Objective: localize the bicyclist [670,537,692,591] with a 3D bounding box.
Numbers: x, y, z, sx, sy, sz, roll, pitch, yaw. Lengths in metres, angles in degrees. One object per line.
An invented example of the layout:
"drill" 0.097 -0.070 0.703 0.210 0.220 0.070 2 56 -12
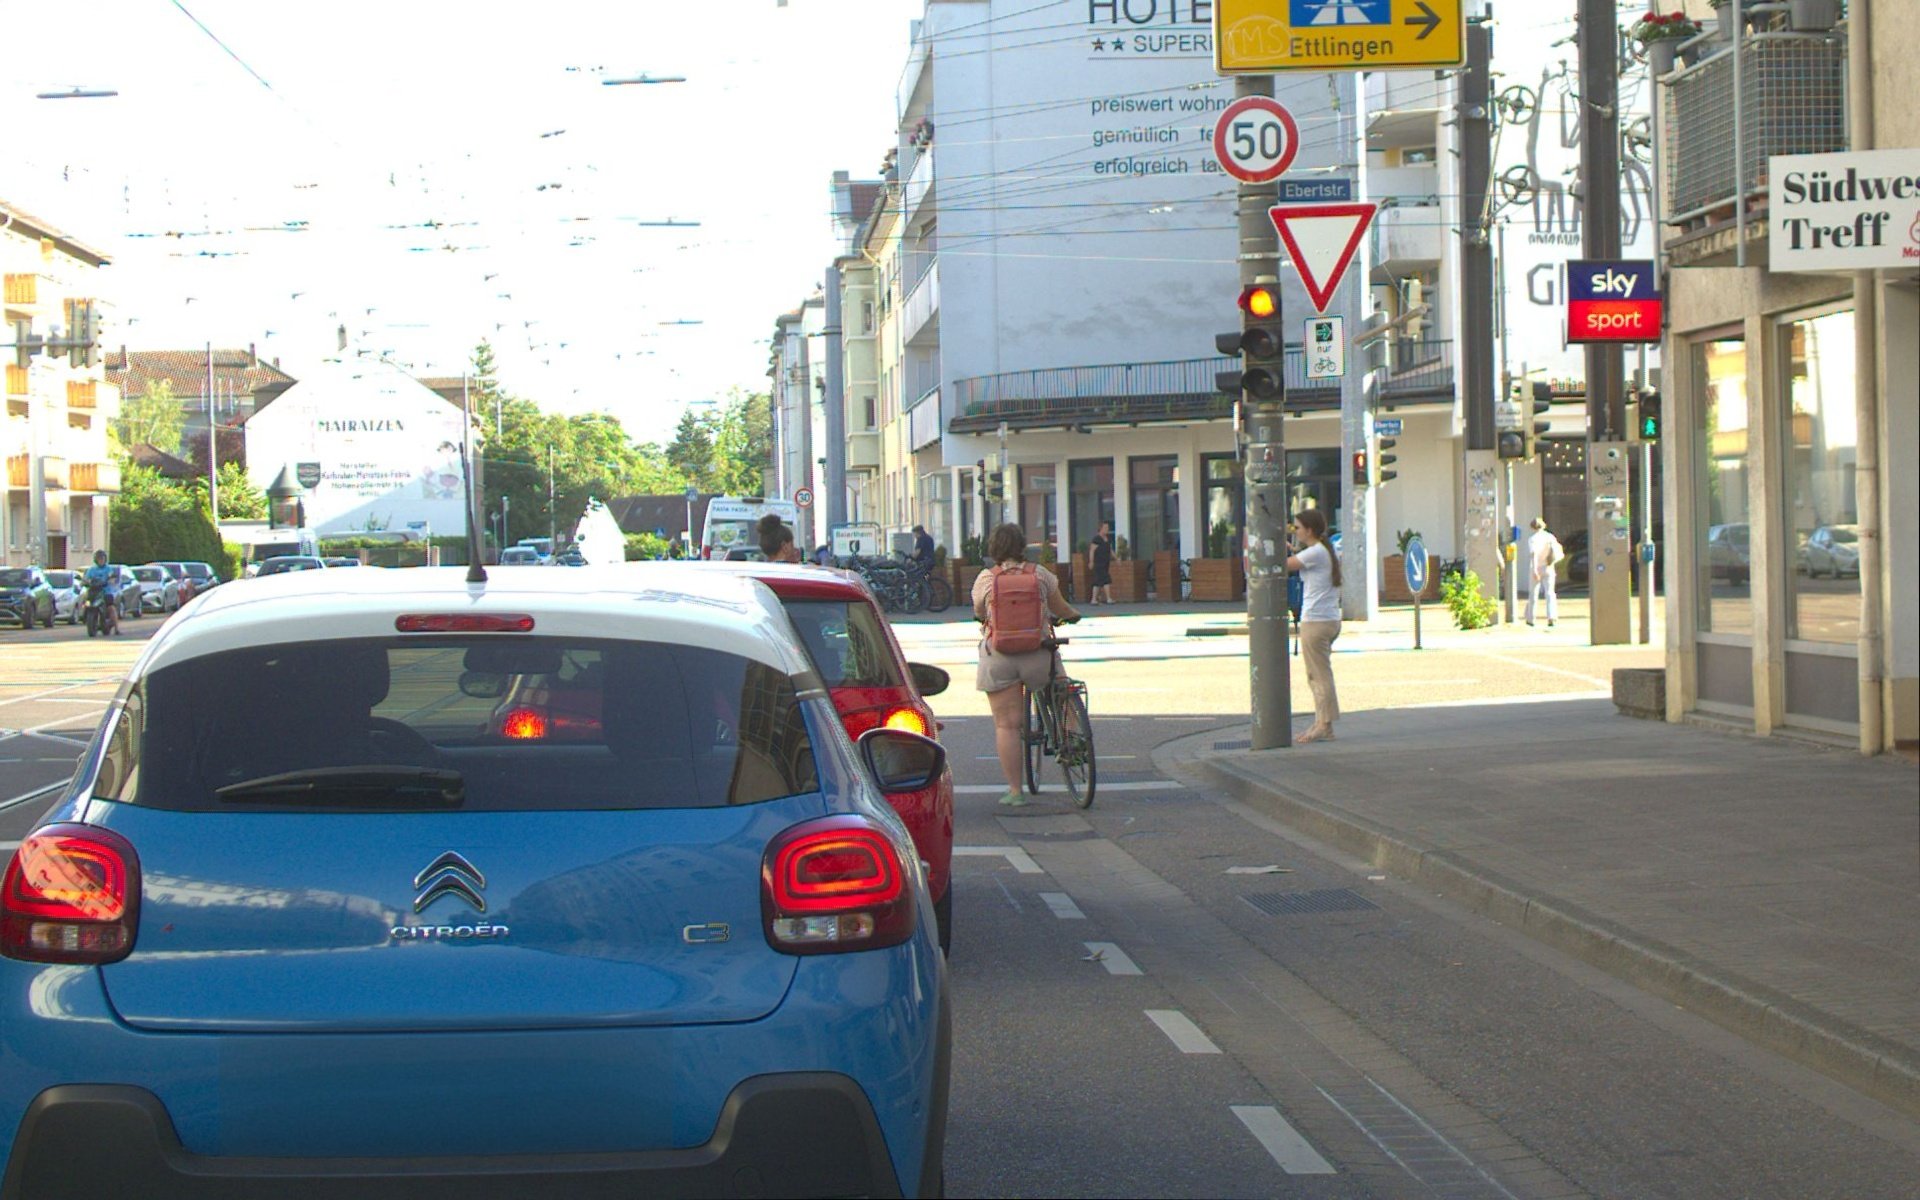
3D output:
"bicyclist" -7.742 -1.003 95.372 0.561 1.472 0.748 1 0 -2

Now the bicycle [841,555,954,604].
"bicycle" -1.199 -0.391 65.895 2.132 0.898 0.367 1 0 -9

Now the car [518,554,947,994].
"car" -0.788 0.579 13.140 1.424 1.462 2.924 -1 0 -1

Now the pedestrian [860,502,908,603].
"pedestrian" -1.532 -0.952 69.217 0.630 2.007 0.724 1 0 -36

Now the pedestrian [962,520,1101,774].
"pedestrian" 0.414 0.269 20.236 0.777 1.455 0.682 1 0 -1

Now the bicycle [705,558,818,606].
"bicycle" -3.822 -0.346 66.269 2.132 0.898 0.367 1 0 -9

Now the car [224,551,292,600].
"car" -24.751 -0.884 121.302 1.846 1.681 3.875 1 1 -4

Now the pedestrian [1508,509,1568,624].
"pedestrian" 8.418 -0.486 50.034 0.752 1.652 0.883 1 0 16

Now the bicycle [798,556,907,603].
"bicycle" -2.141 -0.404 68.353 2.132 0.898 0.367 1 0 -9

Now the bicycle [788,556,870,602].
"bicycle" -2.645 -0.432 69.282 1.785 0.898 0.366 1 1 34

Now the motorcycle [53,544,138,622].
"motorcycle" -16.803 -0.341 66.906 0.923 1.481 3.726 1 1 -3

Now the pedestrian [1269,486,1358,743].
"pedestrian" 2.485 0.097 24.197 0.517 1.777 0.595 1 0 -2

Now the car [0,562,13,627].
"car" -23.174 -0.125 78.982 1.787 1.506 4.150 1 1 -2

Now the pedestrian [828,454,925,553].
"pedestrian" -1.752 -2.030 73.519 1.993 2.007 4.000 1 1 -1

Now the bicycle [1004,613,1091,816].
"bicycle" 0.510 0.655 20.526 0.427 1.119 1.998 1 1 -1

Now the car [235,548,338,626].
"car" -14.945 -0.301 76.397 1.774 1.660 3.857 1 1 -4

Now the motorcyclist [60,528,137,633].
"motorcyclist" -16.809 -0.393 67.109 1.185 2.007 1.276 -1 1 -3

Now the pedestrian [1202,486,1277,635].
"pedestrian" 3.815 -0.543 46.916 0.926 2.007 0.759 1 0 -1

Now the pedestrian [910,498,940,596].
"pedestrian" -0.716 -1.082 70.290 0.577 2.007 0.626 1 0 -3

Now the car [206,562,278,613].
"car" -24.349 -0.438 116.659 1.833 1.681 4.001 1 1 -4

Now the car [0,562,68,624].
"car" -23.636 -0.191 86.070 1.785 1.493 4.001 1 1 -4

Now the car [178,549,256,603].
"car" -24.039 -0.776 111.407 1.882 1.681 4.001 1 1 -4

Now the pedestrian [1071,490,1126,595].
"pedestrian" 2.687 -1.107 66.592 0.709 2.007 0.759 0 1 -42

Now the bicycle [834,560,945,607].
"bicycle" -1.384 -0.321 67.189 2.132 0.898 0.367 1 0 -9

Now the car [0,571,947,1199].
"car" -0.877 0.672 7.181 1.654 1.439 3.523 1 1 -1

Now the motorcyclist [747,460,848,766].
"motorcyclist" -0.921 0.069 19.608 0.526 1.710 0.717 1 0 -1

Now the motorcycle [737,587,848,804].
"motorcycle" -0.929 0.504 19.425 0.526 1.136 2.290 1 1 -1

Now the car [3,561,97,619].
"car" -24.355 -0.273 92.138 1.732 1.493 4.001 1 1 -5

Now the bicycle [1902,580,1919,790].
"bicycle" 4.841 0.414 15.764 0.542 0.995 1.706 1 1 -1

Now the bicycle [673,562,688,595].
"bicycle" -7.754 -0.591 95.383 0.349 0.900 1.859 1 1 -2

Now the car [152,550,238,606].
"car" -23.616 -0.684 106.233 1.983 1.681 4.001 1 1 -3

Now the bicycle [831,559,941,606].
"bicycle" -1.453 -0.338 67.600 2.132 0.898 0.367 1 0 -9
